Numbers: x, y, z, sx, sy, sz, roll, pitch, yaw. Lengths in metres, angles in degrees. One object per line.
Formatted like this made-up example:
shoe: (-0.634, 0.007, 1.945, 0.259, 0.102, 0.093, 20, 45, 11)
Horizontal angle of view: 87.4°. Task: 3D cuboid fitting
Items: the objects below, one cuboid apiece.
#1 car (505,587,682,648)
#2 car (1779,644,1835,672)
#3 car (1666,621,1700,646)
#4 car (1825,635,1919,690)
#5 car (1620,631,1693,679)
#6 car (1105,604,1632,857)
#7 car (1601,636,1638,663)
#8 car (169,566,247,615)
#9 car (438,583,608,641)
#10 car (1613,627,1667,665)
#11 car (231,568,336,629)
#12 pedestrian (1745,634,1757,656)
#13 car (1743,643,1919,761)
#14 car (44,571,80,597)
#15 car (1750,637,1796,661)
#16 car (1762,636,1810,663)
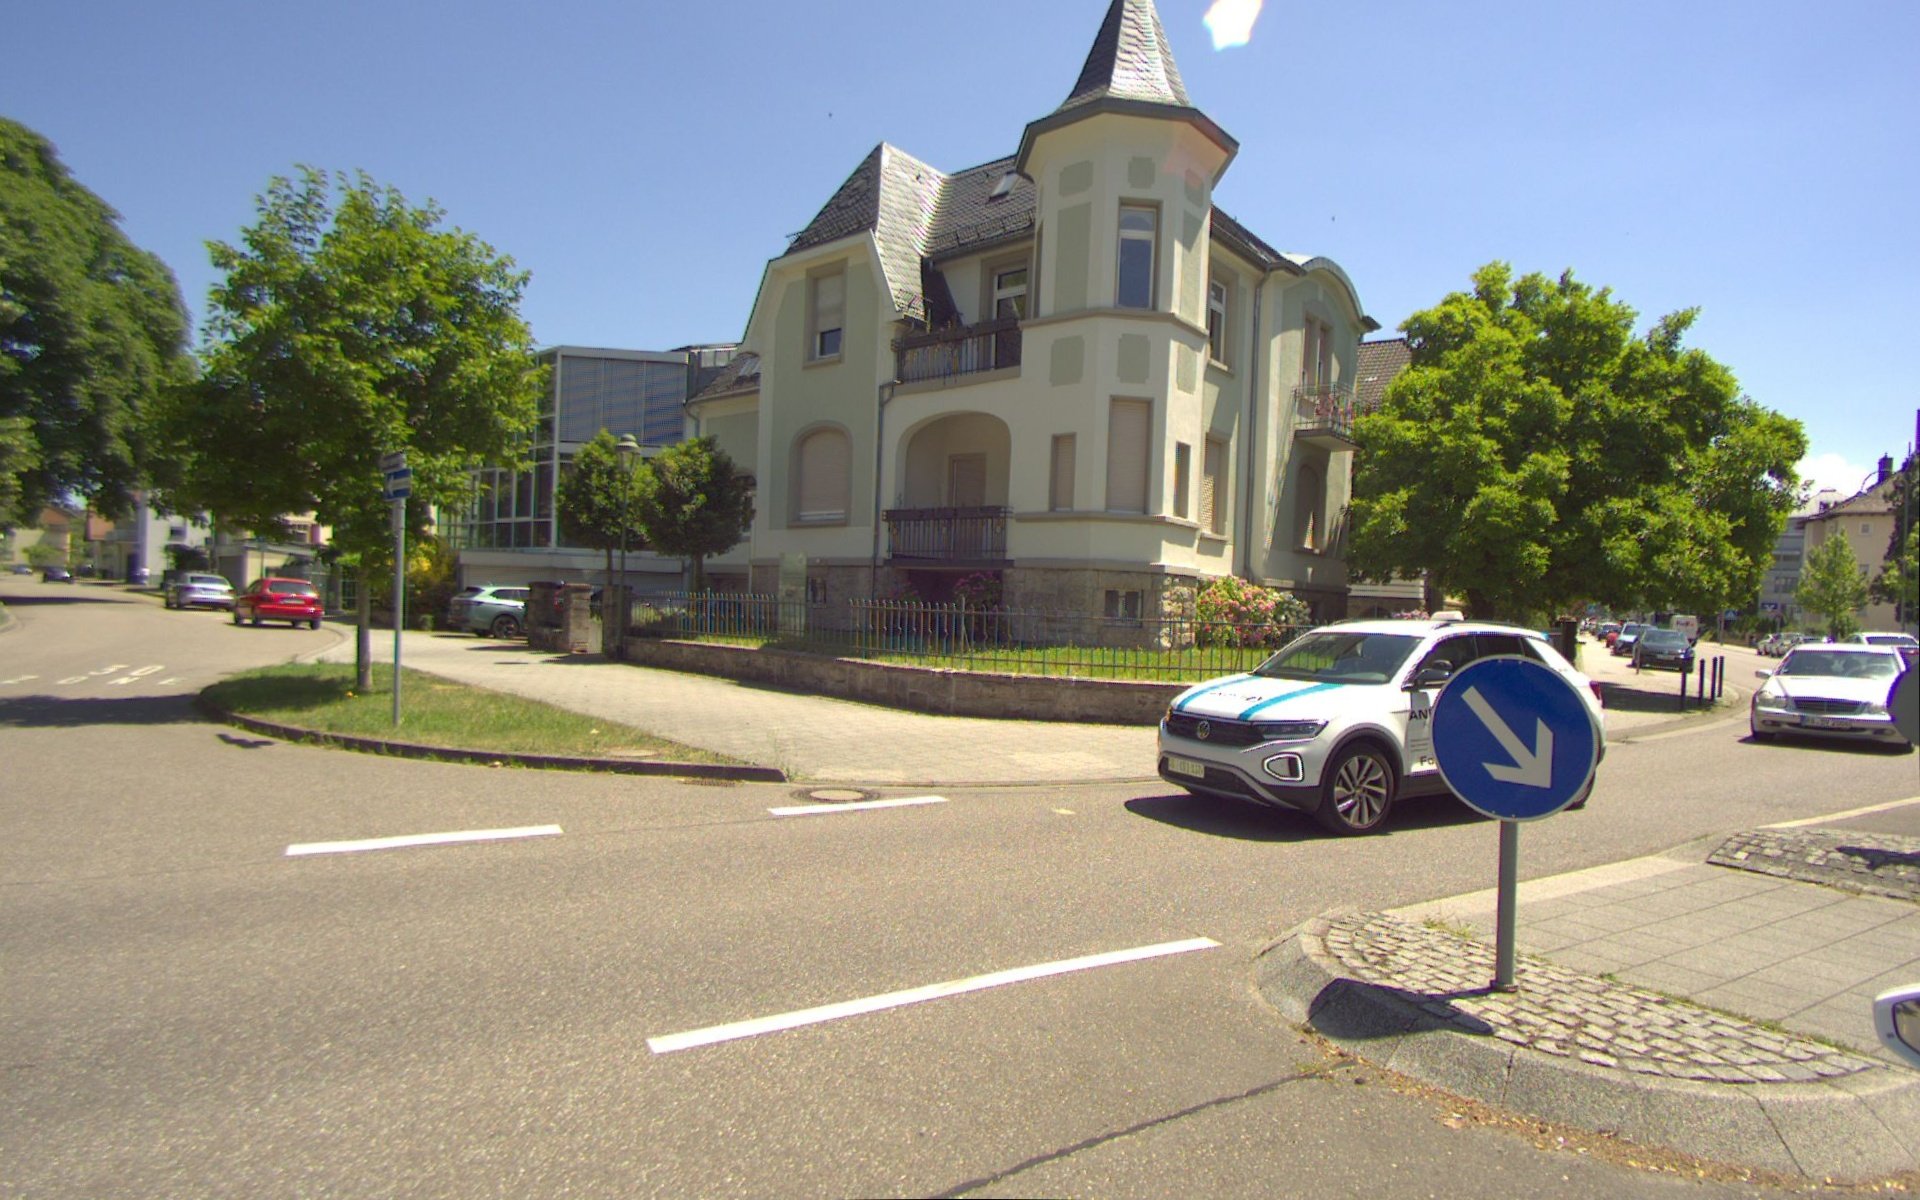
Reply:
car: (-9.745, 0.479, 26.874, 3.973, 1.445, 1.974, 2, 1, -44)
car: (47.886, 3.231, 56.841, 1.836, 1.391, 3.990, 2, -1, 32)
car: (67.069, 3.098, 93.201, 2.040, 2.226, 5.128, 0, -1, 30)
car: (30.336, 2.034, 33.183, 1.909, 1.635, 4.461, -3, -3, 32)
car: (25.768, 1.986, 37.302, 1.899, 1.455, 4.648, 5, 1, 32)
car: (3.522, 0.906, 8.539, 4.250, 1.645, 1.864, 1, 1, -28)
car: (41.621, 3.114, 63.420, 1.625, 1.438, 3.898, 5, 1, 30)
car: (-30.566, -0.402, 40.780, 1.987, 1.802, 4.447, 2, 0, -44)
car: (-12.247, 0.344, 28.267, 3.970, 1.454, 1.858, 2, 1, -42)
car: (33.737, 2.248, 49.936, 1.899, 1.593, 4.648, 5, 1, 32)
car: (-20.301, -0.061, 30.054, 1.985, 1.640, 4.450, 2, 0, -42)
pedestrian: (65.115, 3.689, 82.713, 0.627, 1.782, 0.616, 2, 0, 27)
car: (13.142, 1.404, 14.932, 4.274, 1.454, 1.742, 3, -2, -43)
car: (-69.405, -1.247, 77.623, 1.986, 1.802, 4.448, 2, 0, -43)
car: (53.428, 3.191, 66.056, 1.701, 1.401, 4.393, 0, -1, 31)
car: (50.935, 3.027, 62.024, 1.635, 1.508, 4.337, 0, -1, 31)
